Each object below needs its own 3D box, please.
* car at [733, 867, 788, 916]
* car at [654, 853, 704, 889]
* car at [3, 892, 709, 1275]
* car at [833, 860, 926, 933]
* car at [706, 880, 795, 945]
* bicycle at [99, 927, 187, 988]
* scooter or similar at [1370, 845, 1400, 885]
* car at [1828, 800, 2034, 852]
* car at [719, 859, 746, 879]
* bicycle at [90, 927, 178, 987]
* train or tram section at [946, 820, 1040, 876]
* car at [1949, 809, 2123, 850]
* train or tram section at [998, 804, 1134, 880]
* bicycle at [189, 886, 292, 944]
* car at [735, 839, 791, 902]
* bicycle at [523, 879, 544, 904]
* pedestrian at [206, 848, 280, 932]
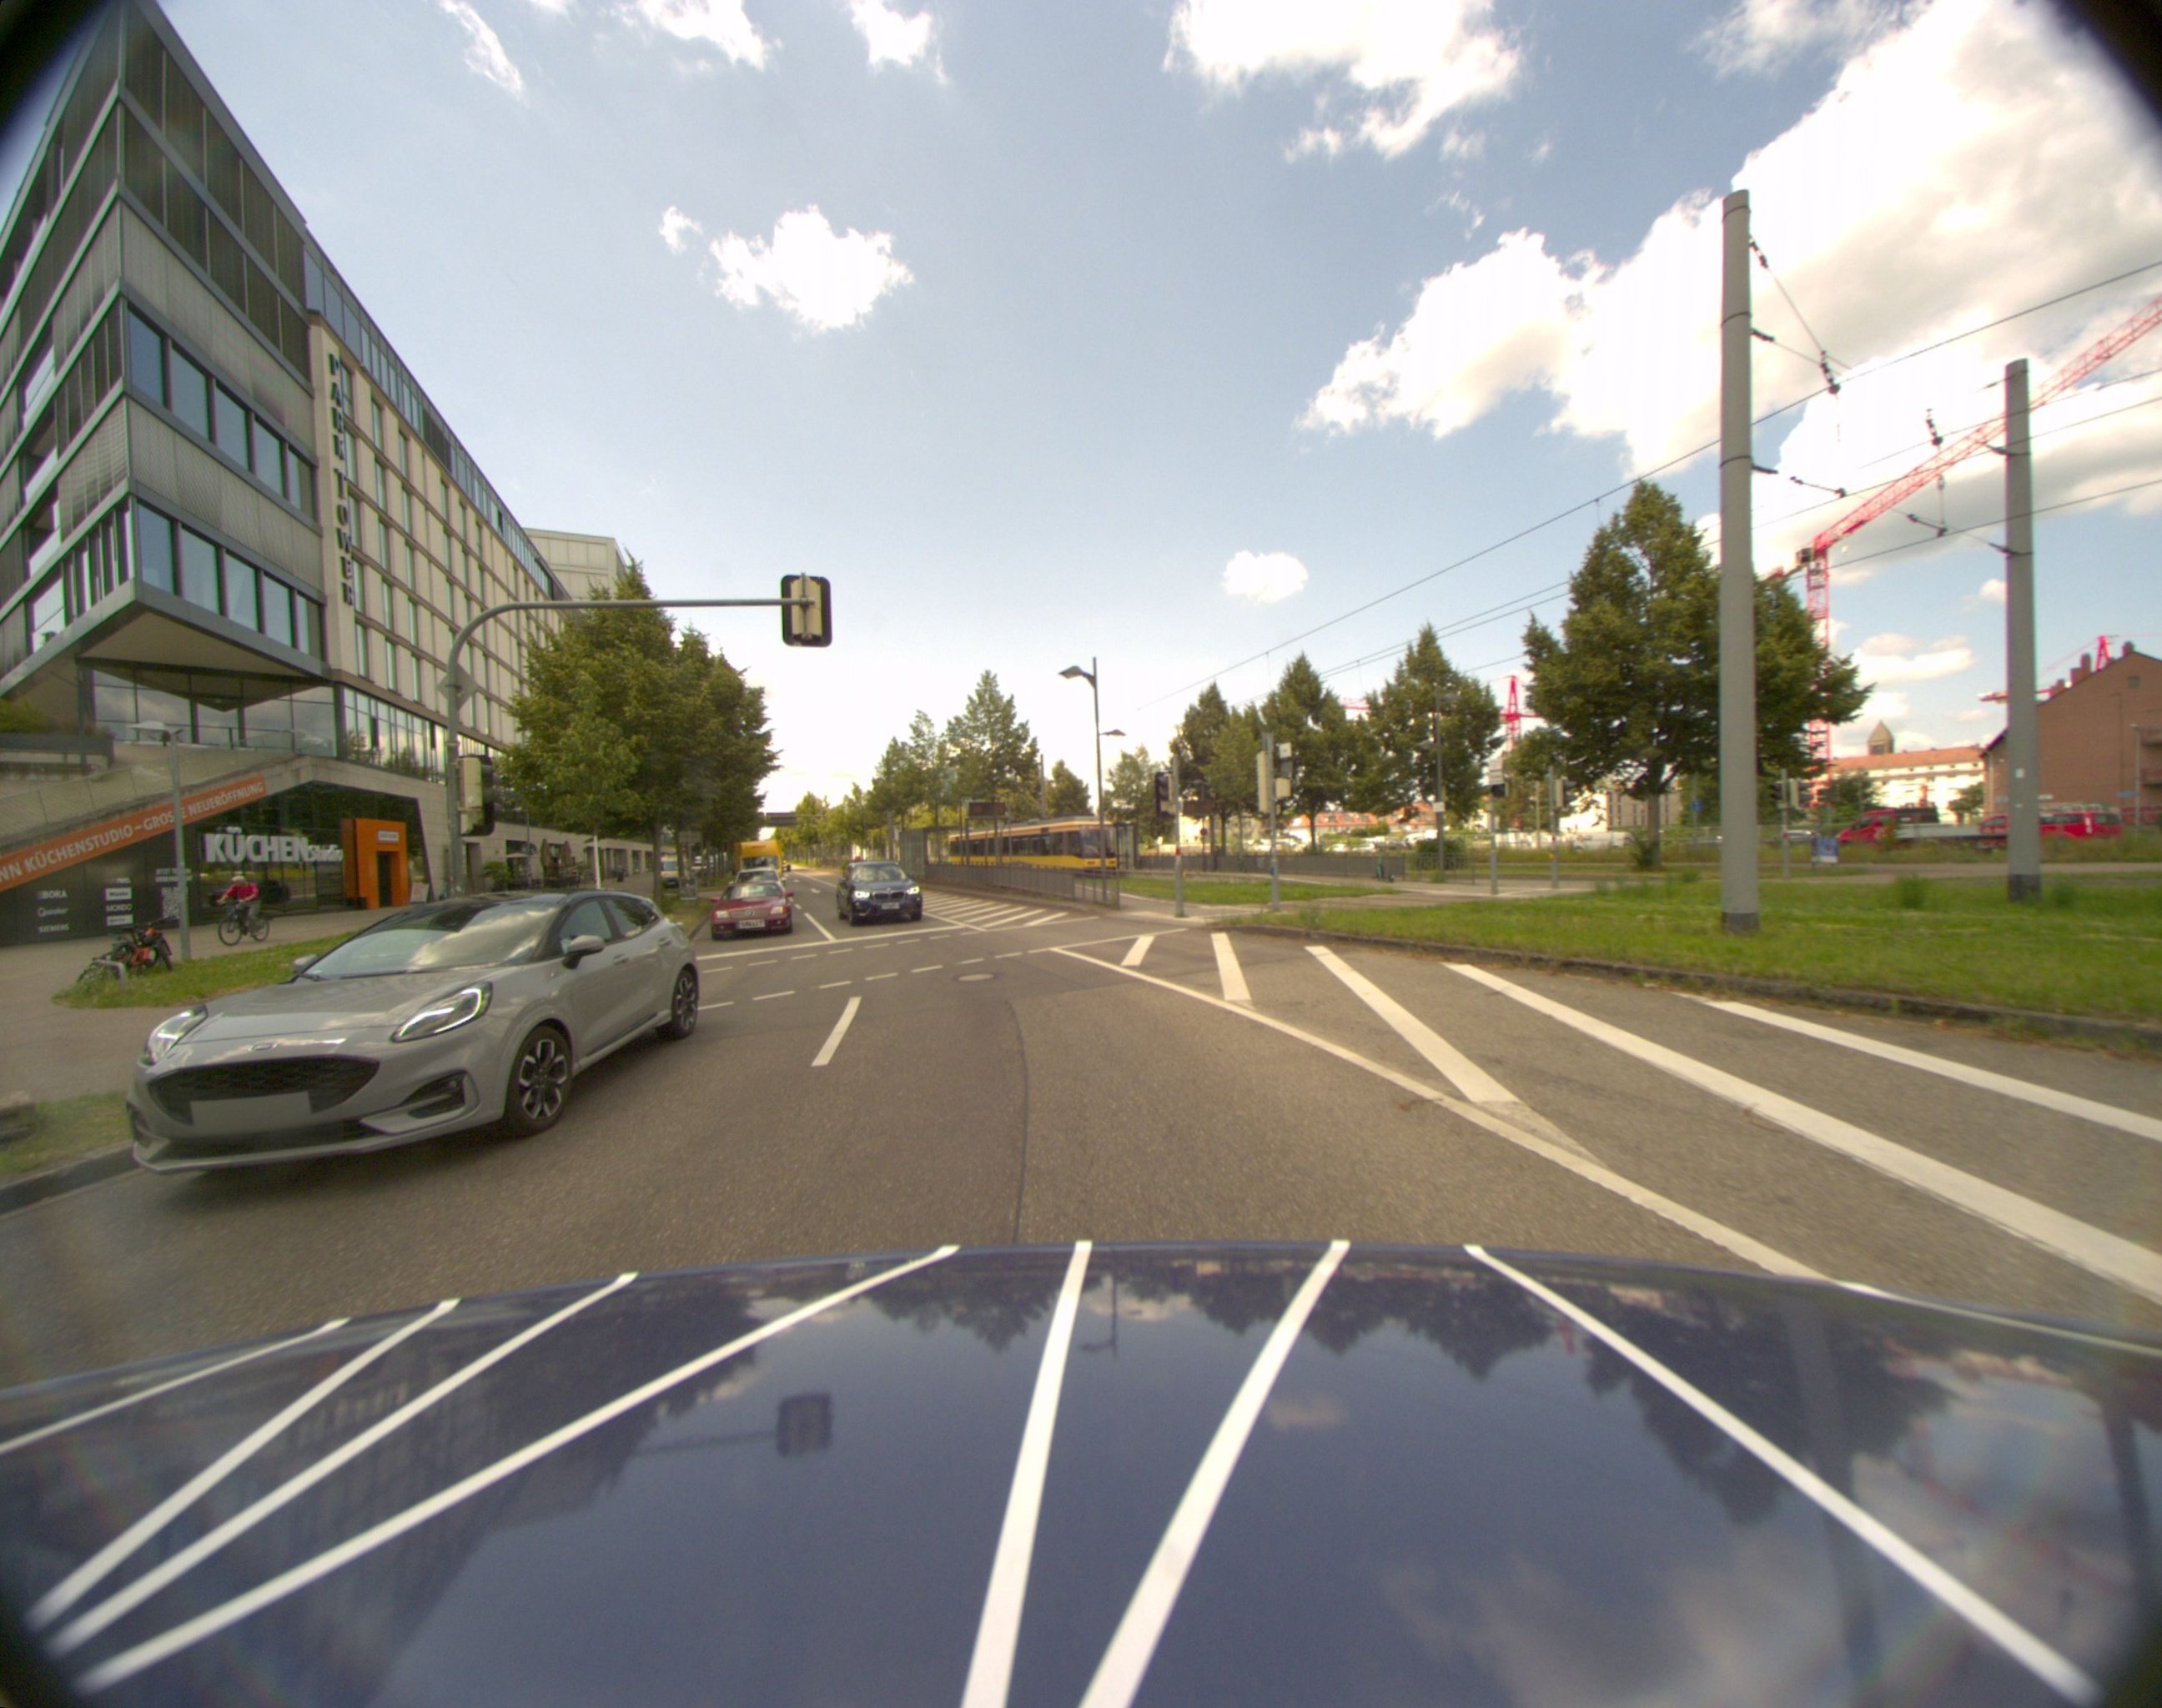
[{"bbox_3d":[-12.174,1.338,28.879,1.676,1.589,4.120,-4,1,-23],"label":"car"},{"bbox_3d":[-30.010,1.177,56.903,2.164,2.380,6.267,-4,2,-19],"label":"car"},{"bbox_3d":[-4.393,1.170,5.656,1.675,1.462,4.089,-3,1,-8],"label":"car"},{"bbox_3d":[-5.577,1.045,20.664,1.777,1.590,4.119,-5,2,-23],"label":"car"},{"bbox_3d":[-8.229,1.397,19.225,1.676,1.254,4.086,-3,1,-19],"label":"car"},{"bbox_3d":[-15.479,1.686,12.570,0.359,0.821,1.470,-3,0,-29],"label":"bicycle"},{"bbox_3d":[10.496,0.350,26.227,0.419,1.295,1.345,-2,3,-3],"label":"scooter or similar"},{"bbox_3d":[40.934,-1.253,36.996,2.393,2.184,6.838,-2,0,1],"label":"car"},{"bbox_3d":[-32.248,1.328,70.357,1.826,1.641,3.993,-4,2,-20],"label":"car"},{"bbox_3d":[-15.886,1.709,12.779,0.359,0.821,1.470,-3,0,-29],"label":"bicycle"},{"bbox_3d":[-6.985,-0.307,57.010,2.698,3.617,14.636,-2,0,-23],"label":"train or tram section"},{"bbox_3d":[47.820,-1.172,38.273,2.087,1.841,5.182,-2,0,-4],"label":"car"},{"bbox_3d":[-1.362,-0.538,44.154,2.854,3.718,13.451,-2,0,-23],"label":"train or tram section"},{"bbox_3d":[-20.797,1.462,18.879,0.813,1.237,2.406,-1,1,-25],"label":"bicycle"},{"bbox_3d":[-16.264,0.795,38.769,2.288,2.837,7.241,-3,0,-23],"label":"car"},{"bbox_3d":[-25.530,1.728,35.448,0.517,1.082,1.745,-2,0,-27],"label":"bicycle"},{"bbox_3d":[-20.850,0.861,18.930,0.756,2.002,1.229,-1,2,-25],"label":"pedestrian"}]
